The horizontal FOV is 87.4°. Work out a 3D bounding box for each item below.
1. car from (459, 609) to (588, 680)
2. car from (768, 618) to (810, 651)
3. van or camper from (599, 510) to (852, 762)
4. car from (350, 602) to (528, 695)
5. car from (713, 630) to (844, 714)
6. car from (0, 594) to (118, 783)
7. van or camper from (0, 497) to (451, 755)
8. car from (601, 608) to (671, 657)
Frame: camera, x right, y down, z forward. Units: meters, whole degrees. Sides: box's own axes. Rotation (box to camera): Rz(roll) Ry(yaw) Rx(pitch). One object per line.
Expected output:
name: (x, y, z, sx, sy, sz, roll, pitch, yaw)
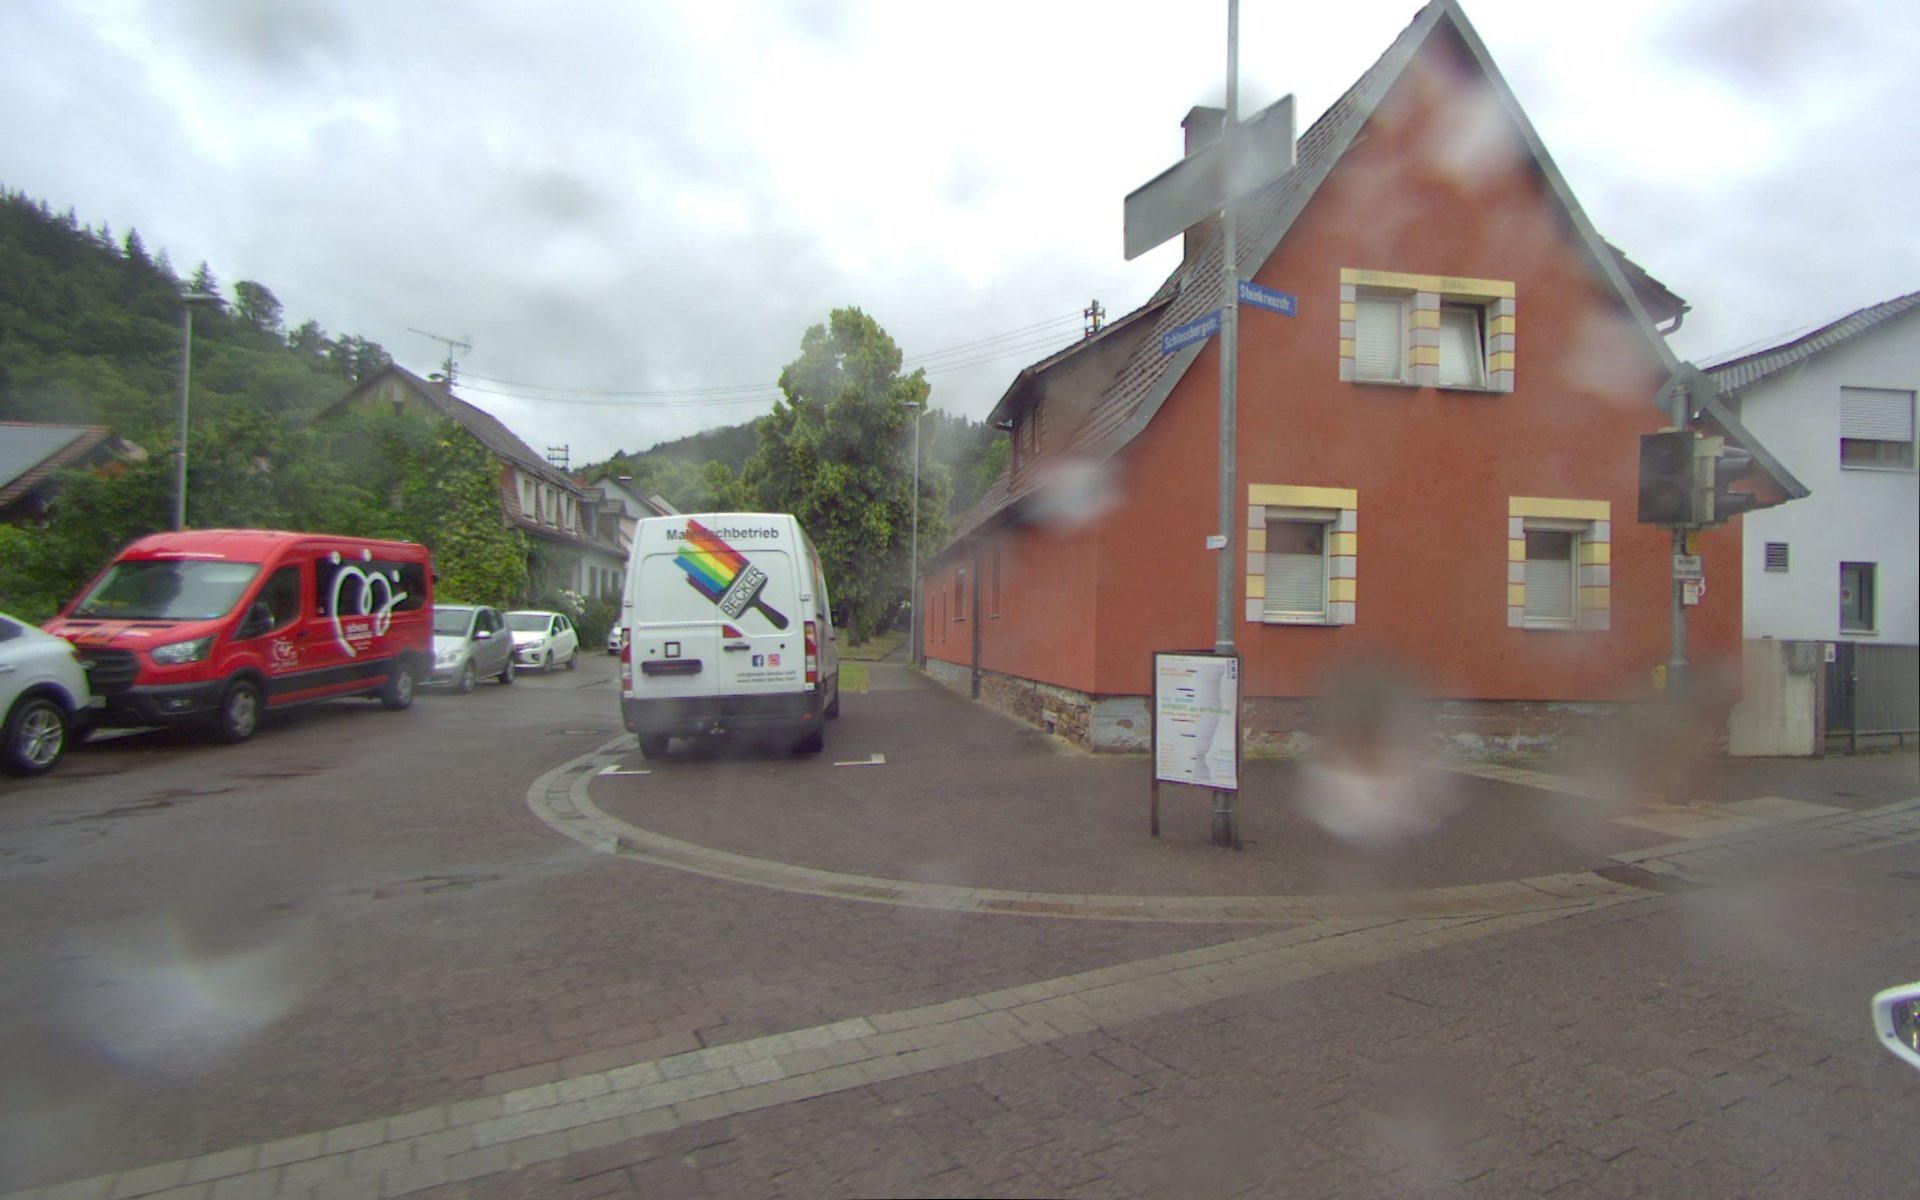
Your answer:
car: (-10.637, 1.056, 24.783, 1.767, 1.570, 3.809, 2, -1, -5)
car: (-9.162, 1.810, 54.047, 1.828, 1.572, 3.997, 1, 1, -5)
van or camper: (-2.586, 0.405, 12.485, 2.168, 2.468, 5.158, 0, -1, -3)
car: (-9.765, 0.883, 19.173, 1.767, 1.570, 3.807, 2, -1, -7)
car: (-3.113, 1.204, 17.970, 1.802, 1.298, 4.002, 0, -1, -3)
car: (-8.773, 0.721, 7.384, 1.848, 1.570, 4.455, 1, -1, -8)
van or camper: (-8.979, 0.298, 12.893, 2.114, 2.506, 5.875, 2, -1, -3)
car: (-11.806, 1.151, 36.842, 1.780, 1.623, 3.755, 3, -1, -9)
